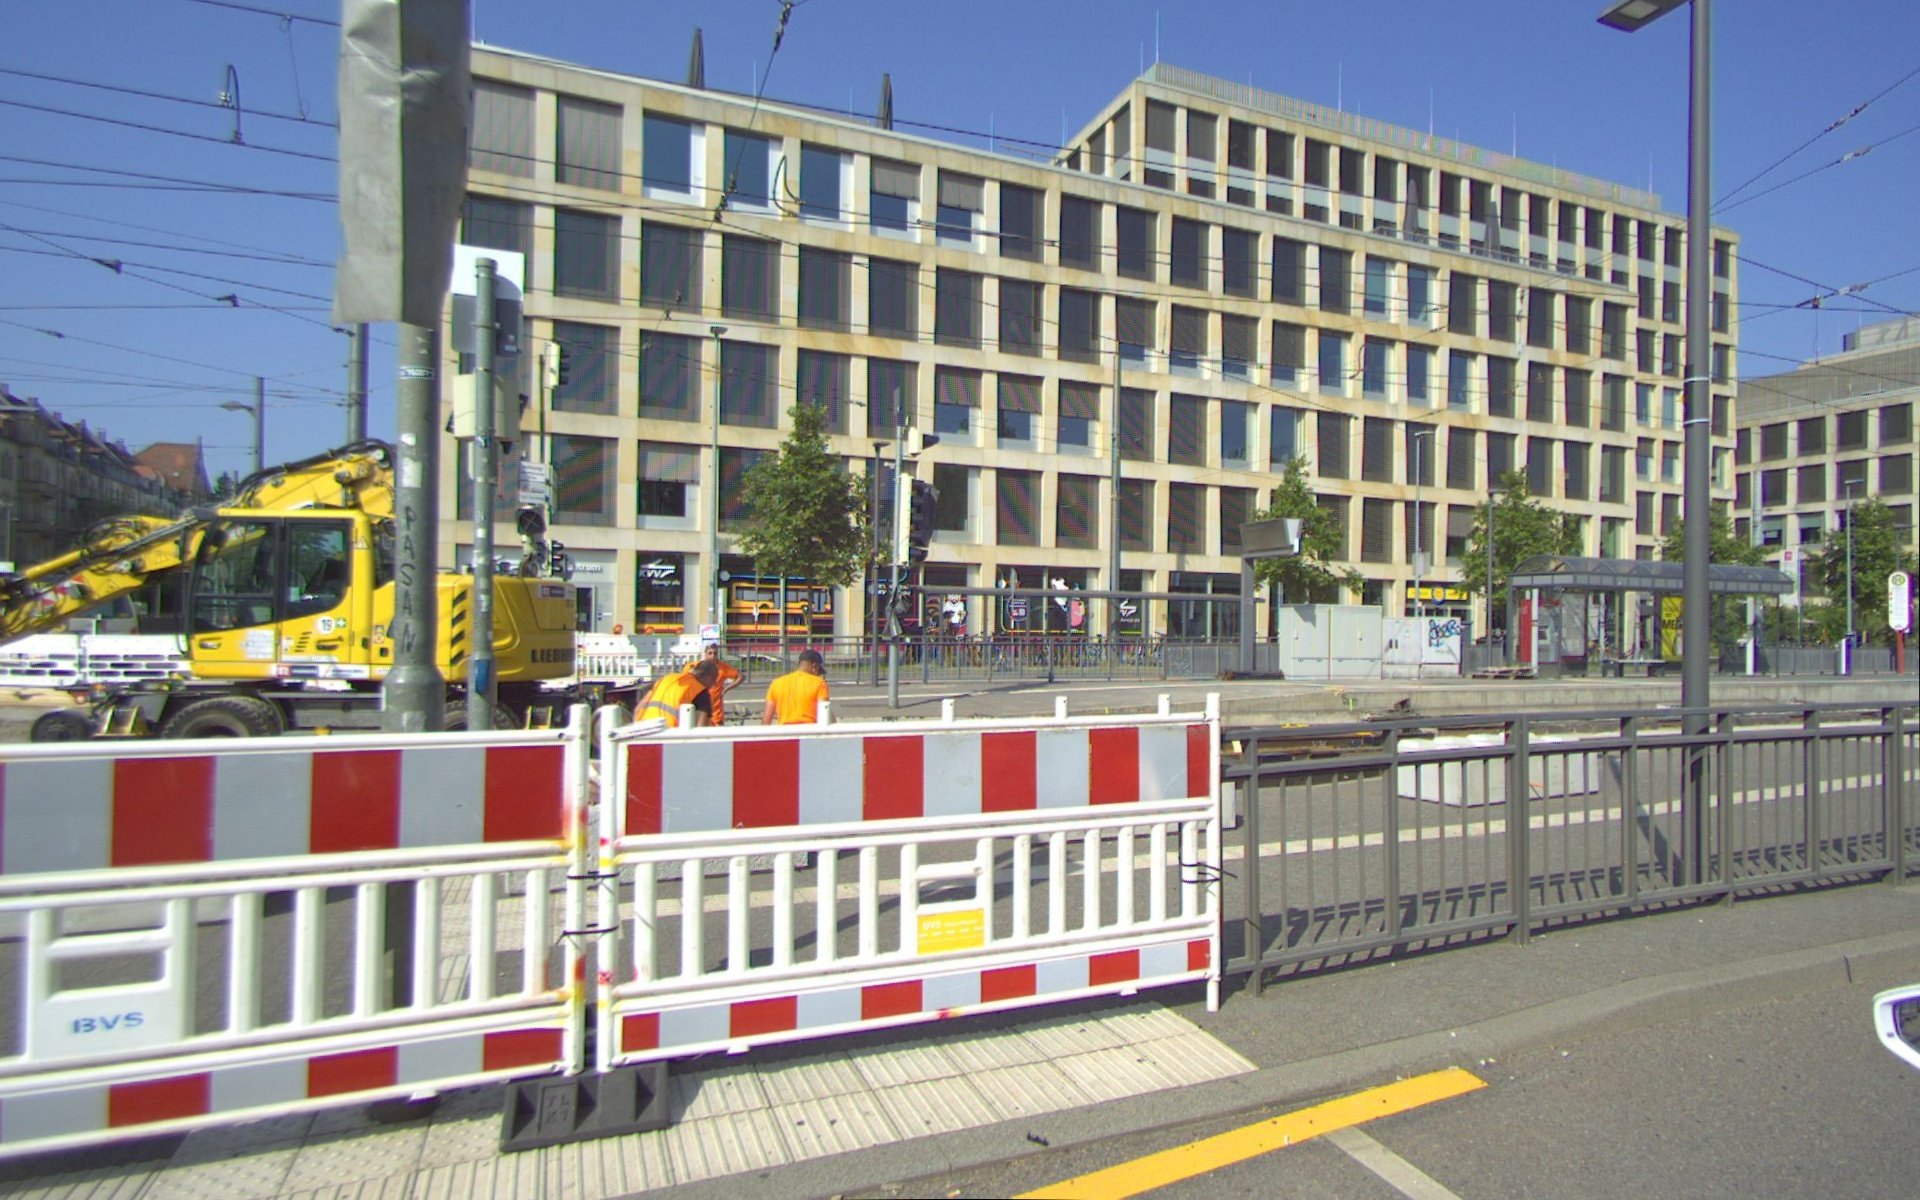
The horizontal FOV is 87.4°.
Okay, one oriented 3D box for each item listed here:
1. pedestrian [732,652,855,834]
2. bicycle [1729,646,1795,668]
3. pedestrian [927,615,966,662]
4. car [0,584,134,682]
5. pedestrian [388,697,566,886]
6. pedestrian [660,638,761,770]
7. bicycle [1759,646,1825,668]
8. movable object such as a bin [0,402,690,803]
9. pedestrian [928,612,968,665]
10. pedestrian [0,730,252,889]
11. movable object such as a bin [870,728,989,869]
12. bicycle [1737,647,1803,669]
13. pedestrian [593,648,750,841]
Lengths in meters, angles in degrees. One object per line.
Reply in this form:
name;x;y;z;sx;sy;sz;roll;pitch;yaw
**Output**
pedestrian;-1.281;1.081;7.885;0.782;1.324;0.840;0;-1;2
bicycle;38.782;2.743;48.627;0.810;0.999;2.428;1;-2;-23
pedestrian;-0.485;1.355;35.627;1.107;1.618;0.974;1;-1;-22
car;-20.974;0.744;23.229;5.038;2.057;1.810;-1;-2;38
pedestrian;-3.489;1.352;7.347;0.782;1.206;0.986;0;-1;2
pedestrian;-2.692;1.074;10.762;0.967;1.324;1.014;1;-1;-18
bicycle;41.094;2.795;49.677;0.810;0.999;2.428;1;-2;-23
movable object such as a bin;-8.198;0.043;12.067;8.860;4.066;3.516;0;-1;2
pedestrian;-0.416;1.305;34.331;1.107;1.775;0.974;1;-1;-22
pedestrian;-5.337;1.247;6.314;0.898;0.644;1.901;1;-1;-18
movable object such as a bin;-0.187;1.252;6.610;0.687;0.661;1.510;0;-1;-1
bicycle;39.592;2.827;49.144;0.810;0.999;2.428;1;-2;-23
pedestrian;-2.184;1.054;7.783;0.782;1.324;1.317;0;-1;2
